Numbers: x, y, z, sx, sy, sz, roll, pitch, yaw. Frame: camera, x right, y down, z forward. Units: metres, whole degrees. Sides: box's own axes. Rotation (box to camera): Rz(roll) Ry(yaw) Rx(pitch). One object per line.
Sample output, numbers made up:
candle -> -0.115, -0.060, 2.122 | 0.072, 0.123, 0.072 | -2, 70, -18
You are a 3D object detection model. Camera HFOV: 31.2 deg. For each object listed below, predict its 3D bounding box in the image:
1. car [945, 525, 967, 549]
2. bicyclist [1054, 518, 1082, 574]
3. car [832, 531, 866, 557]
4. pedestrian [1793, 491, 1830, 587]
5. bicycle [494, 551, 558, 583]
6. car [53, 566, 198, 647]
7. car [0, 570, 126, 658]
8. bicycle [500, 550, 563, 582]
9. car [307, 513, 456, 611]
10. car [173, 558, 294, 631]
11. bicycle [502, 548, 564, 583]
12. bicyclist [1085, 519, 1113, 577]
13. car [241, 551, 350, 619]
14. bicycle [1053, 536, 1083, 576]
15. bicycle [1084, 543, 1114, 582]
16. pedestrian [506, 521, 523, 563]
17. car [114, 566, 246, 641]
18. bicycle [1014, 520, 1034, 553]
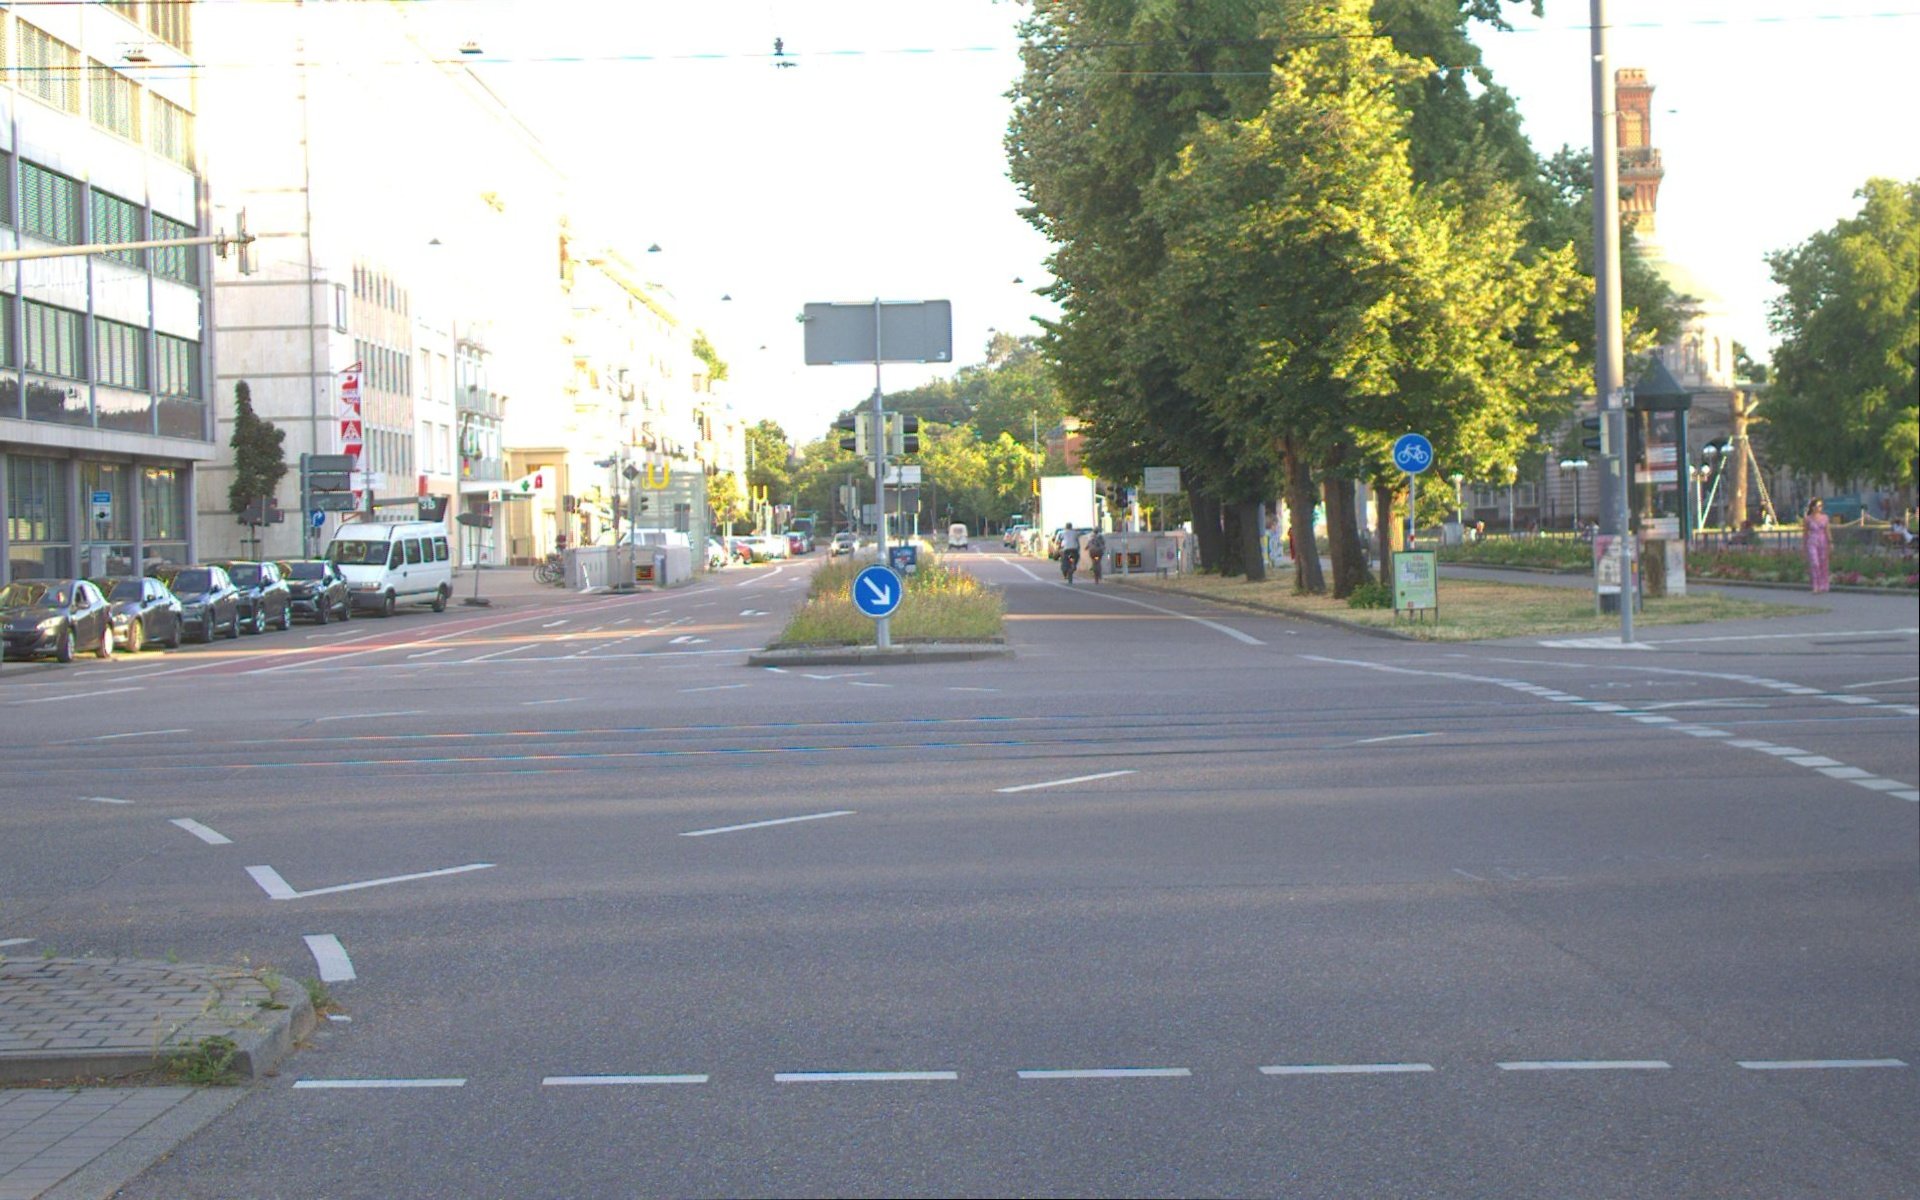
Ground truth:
car -> -0.274, -4.397, 238.613 | 1.408, 1.636, 4.000 | -2, 1, -2
bicyclist -> 3.205, -1.608, 102.316 | 0.746, 1.658, 0.873 | -2, 1, -1
car -> -6.828, -3.433, 211.634 | 1.863, 1.514, 4.000 | -1, 1, 1
pedestrian -> 14.789, -1.060, 59.730 | 0.460, 1.651, 0.567 | -1, 1, -1
bicycle -> -15.840, -1.216, 125.497 | 2.205, 1.108, 0.619 | -2, 1, -2
car -> -16.576, 0.105, 68.437 | 1.920, 1.459, 4.000 | -2, 1, -1
car -> -16.487, 0.236, 61.942 | 1.920, 1.459, 4.103 | -2, 1, -1
bicycle -> -15.828, -1.245, 127.026 | 2.205, 1.108, 0.689 | -2, 1, -2
car -> -15.300, -1.050, 91.230 | 2.002, 2.469, 5.865 | -1, 1, 10
car -> -16.558, -0.146, 78.554 | 1.920, 1.563, 4.000 | -2, 1, -1
bicycle -> -16.015, -1.306, 128.881 | 2.205, 1.232, 0.839 | -2, 1, -2
bicyclist -> 4.126, -1.546, 102.365 | 0.746, 1.685, 0.799 | -2, 1, -1
car -> -16.360, -0.380, 84.780 | 1.920, 1.563, 4.000 | -2, 1, -1
bicycle -> 3.218, -1.319, 102.645 | 0.746, 1.140, 2.505 | -2, 1, -1
bicycle -> 4.140, -1.128, 102.421 | 0.746, 1.140, 2.505 | -2, 1, -1
pedestrian -> -21.361, -2.787, 164.794 | 0.680, 2.007, 0.545 | -2, 1, 0
car -> -16.580, 0.057, 73.252 | 1.920, 1.459, 4.000 | -2, 1, -1
bicycle -> 3.862, -3.861, 208.668 | 1.002, 2.007, 4.000 | -2, 1, -1
